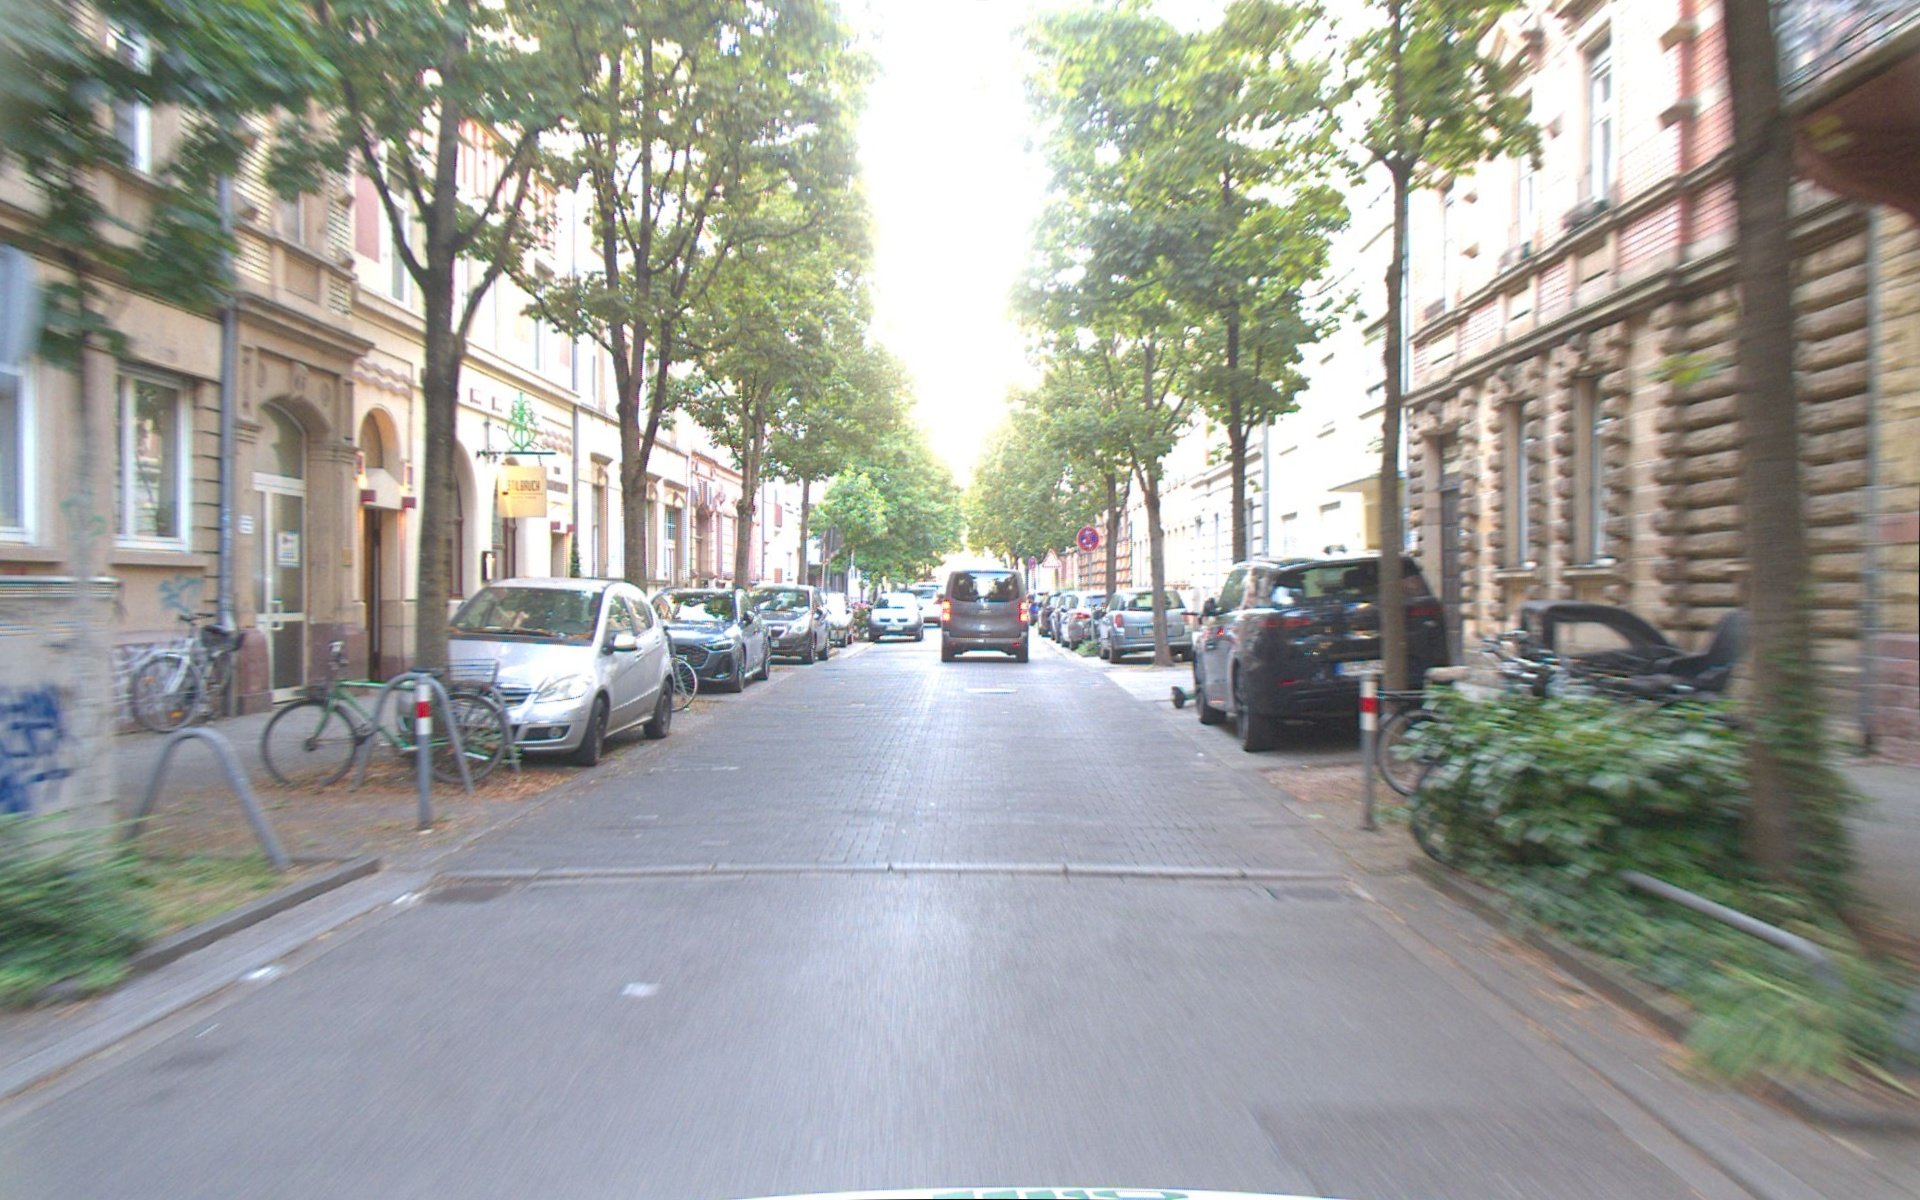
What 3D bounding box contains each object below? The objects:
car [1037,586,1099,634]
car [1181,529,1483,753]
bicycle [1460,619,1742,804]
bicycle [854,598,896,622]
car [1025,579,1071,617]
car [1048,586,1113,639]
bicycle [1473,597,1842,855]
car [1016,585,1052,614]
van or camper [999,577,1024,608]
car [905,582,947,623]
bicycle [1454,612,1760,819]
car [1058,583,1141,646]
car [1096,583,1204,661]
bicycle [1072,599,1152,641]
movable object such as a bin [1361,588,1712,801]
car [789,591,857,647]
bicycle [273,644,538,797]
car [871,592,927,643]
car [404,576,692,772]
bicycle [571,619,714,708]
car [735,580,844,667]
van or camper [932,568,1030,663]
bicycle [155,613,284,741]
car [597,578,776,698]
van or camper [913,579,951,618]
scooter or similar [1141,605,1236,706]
[{"bbox_3d":[3.497,0.297,54.151,1.730,1.439,4.474,-3,0,1],"label":"car"},{"bbox_3d":[3.579,0.332,16.894,1.972,1.865,4.811,-3,1,0],"label":"car"},{"bbox_3d":[4.192,0.721,10.896,1.623,1.163,0.583,-1,0,4],"label":"bicycle"},{"bbox_3d":[-3.380,0.402,66.095,1.680,0.923,0.380,0,0,-30],"label":"bicycle"},{"bbox_3d":[3.654,-0.086,69.071,1.594,1.492,4.244,-1,0,-1],"label":"car"},{"bbox_3d":[3.555,0.343,49.125,1.602,1.449,3.564,-2,0,-1],"label":"car"},{"bbox_3d":[3.945,0.691,9.455,1.725,1.316,0.802,-3,1,0],"label":"bicycle"},{"bbox_3d":[3.842,-0.048,86.483,1.659,1.426,4.646,-1,0,0],"label":"car"},{"bbox_3d":[4.520,-0.672,145.741,1.953,2.644,5.423,0,0,-1],"label":"van or camper"},{"bbox_3d":[-1.409,0.081,67.614,1.630,1.590,3.998,-1,0,-3],"label":"car"},{"bbox_3d":[3.988,0.703,10.272,1.661,1.219,0.583,-1,0,4],"label":"bicycle"},{"bbox_3d":[3.622,0.348,43.514,1.682,1.502,4.367,-2,1,-1],"label":"car"},{"bbox_3d":[3.884,0.410,34.355,1.722,1.488,4.308,-1,1,0],"label":"car"},{"bbox_3d":[3.732,0.481,40.614,1.888,0.999,0.634,-1,0,-21],"label":"bicycle"},{"bbox_3d":[4.055,0.651,11.767,2.169,1.328,0.771,-4,0,3],"label":"movable object such as a bin"},{"bbox_3d":[-3.773,0.506,45.965,1.554,1.462,3.566,1,0,0],"label":"car"},{"bbox_3d":[-4.155,0.892,12.484,1.835,1.078,0.593,1,0,-19],"label":"bicycle"},{"bbox_3d":[-1.820,0.499,50.322,1.547,1.445,3.753,-1,0,0],"label":"car"},{"bbox_3d":[-3.792,0.599,15.889,1.641,1.635,3.863,1,1,2],"label":"car"},{"bbox_3d":[-3.935,0.782,20.549,1.649,1.021,0.430,2,0,2],"label":"bicycle"},{"bbox_3d":[-3.401,0.432,33.582,1.671,1.608,4.079,1,1,1],"label":"car"},{"bbox_3d":[0.515,0.305,35.742,1.993,1.930,4.272,0,0,2],"label":"van or camper"},{"bbox_3d":[-7.178,0.718,16.101,0.452,1.108,1.630,2,1,1],"label":"bicycle"},{"bbox_3d":[-3.877,0.483,24.196,1.769,1.544,4.685,1,0,0],"label":"car"},{"bbox_3d":[-1.404,-0.097,82.878,1.838,1.875,4.752,-1,1,-1],"label":"van or camper"},{"bbox_3d":[2.923,0.705,21.128,0.663,1.211,1.110,-3,0,40],"label":"scooter or similar"}]
